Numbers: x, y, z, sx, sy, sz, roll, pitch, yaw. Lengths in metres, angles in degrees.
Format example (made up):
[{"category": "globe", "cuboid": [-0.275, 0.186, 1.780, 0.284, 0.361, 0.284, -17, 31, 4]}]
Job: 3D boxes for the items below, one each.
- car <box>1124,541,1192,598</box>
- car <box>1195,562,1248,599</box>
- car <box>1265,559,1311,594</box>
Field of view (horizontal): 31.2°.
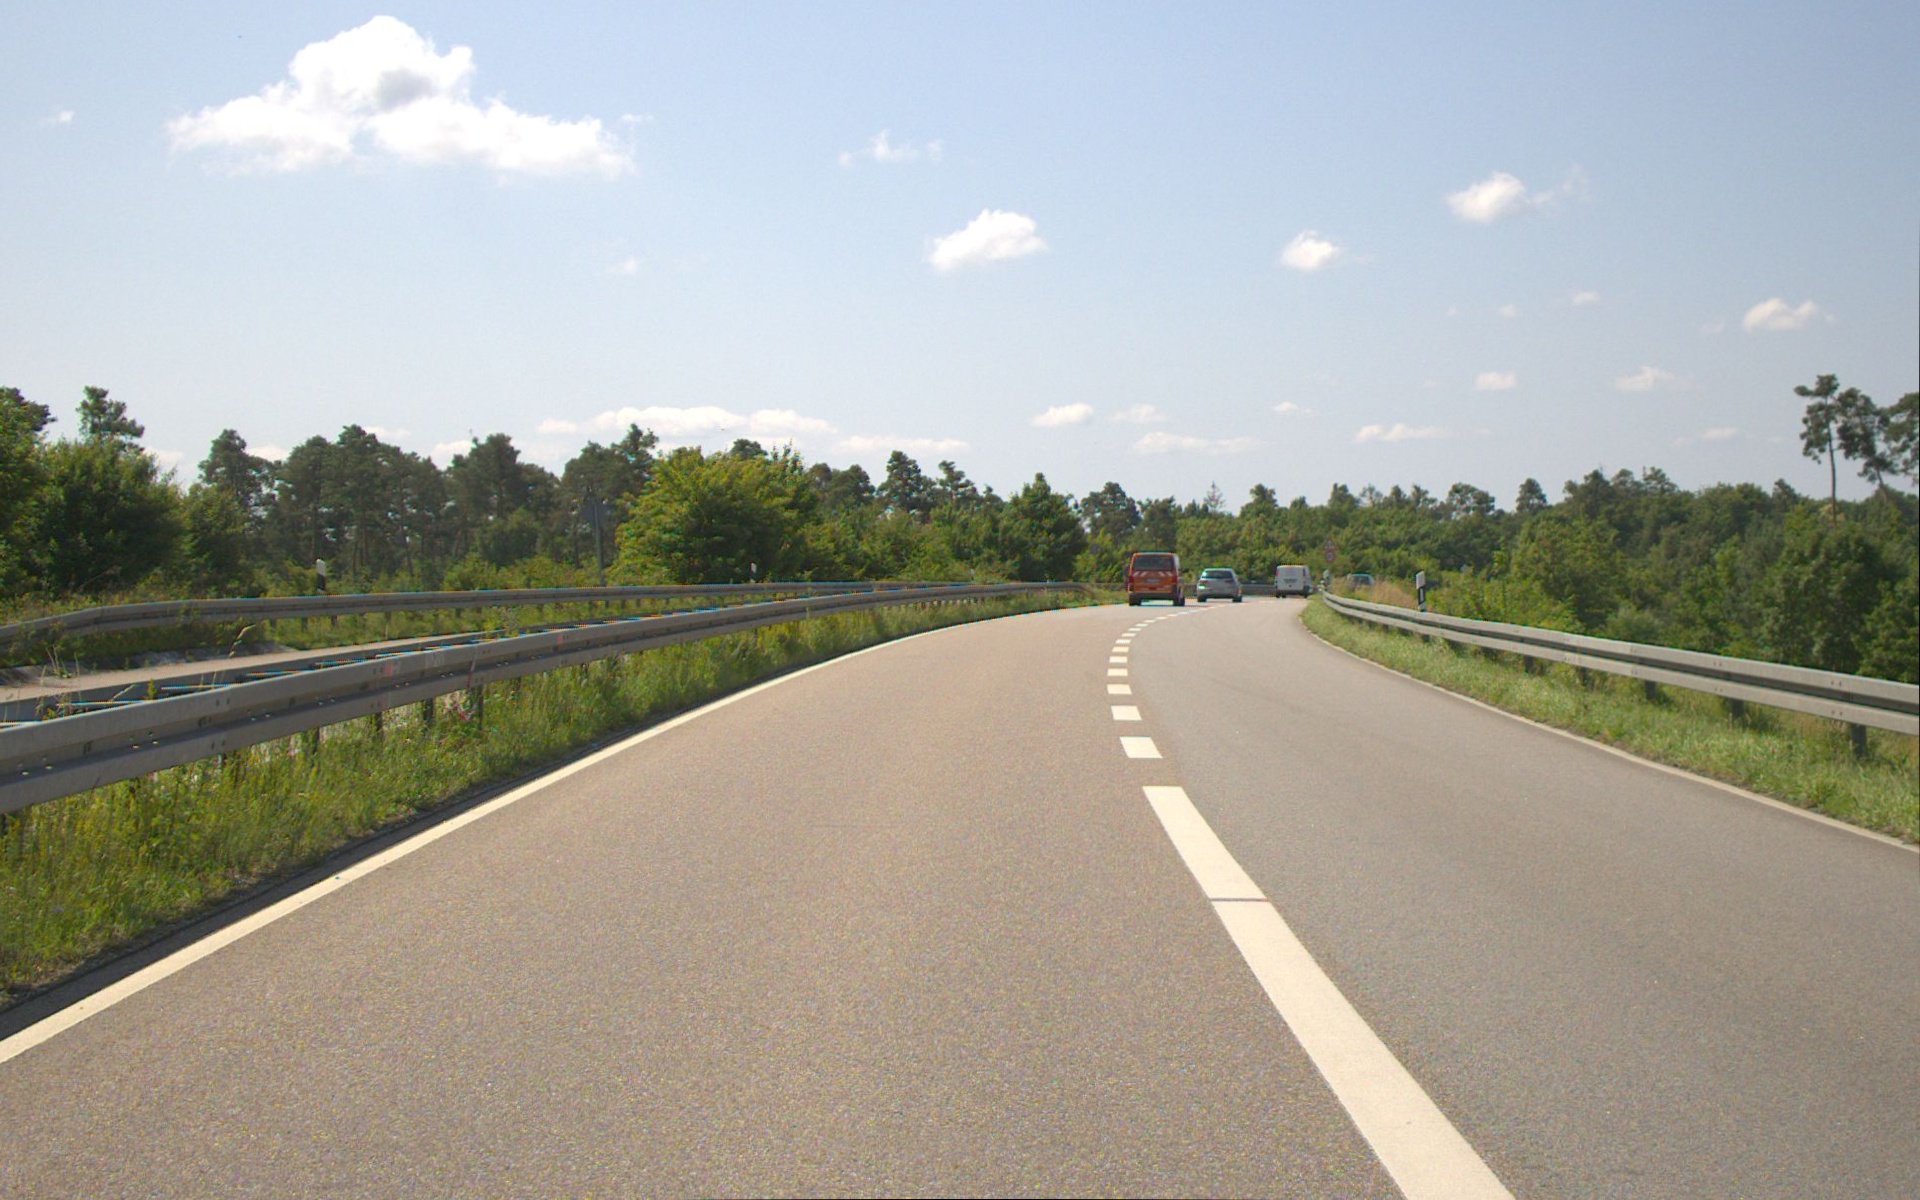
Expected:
[{"category": "car", "cuboid": [7.301, -1.096, 126.602, 2.078, 1.986, 5.110, 1, 0, 8]}, {"category": "car", "cuboid": [11.310, -0.824, 148.524, 2.008, 1.489, 4.237, 1, 0, 8]}, {"category": "car", "cuboid": [19.120, -1.339, 200.311, 2.185, 1.948, 5.801, 1, 0, 10]}]
